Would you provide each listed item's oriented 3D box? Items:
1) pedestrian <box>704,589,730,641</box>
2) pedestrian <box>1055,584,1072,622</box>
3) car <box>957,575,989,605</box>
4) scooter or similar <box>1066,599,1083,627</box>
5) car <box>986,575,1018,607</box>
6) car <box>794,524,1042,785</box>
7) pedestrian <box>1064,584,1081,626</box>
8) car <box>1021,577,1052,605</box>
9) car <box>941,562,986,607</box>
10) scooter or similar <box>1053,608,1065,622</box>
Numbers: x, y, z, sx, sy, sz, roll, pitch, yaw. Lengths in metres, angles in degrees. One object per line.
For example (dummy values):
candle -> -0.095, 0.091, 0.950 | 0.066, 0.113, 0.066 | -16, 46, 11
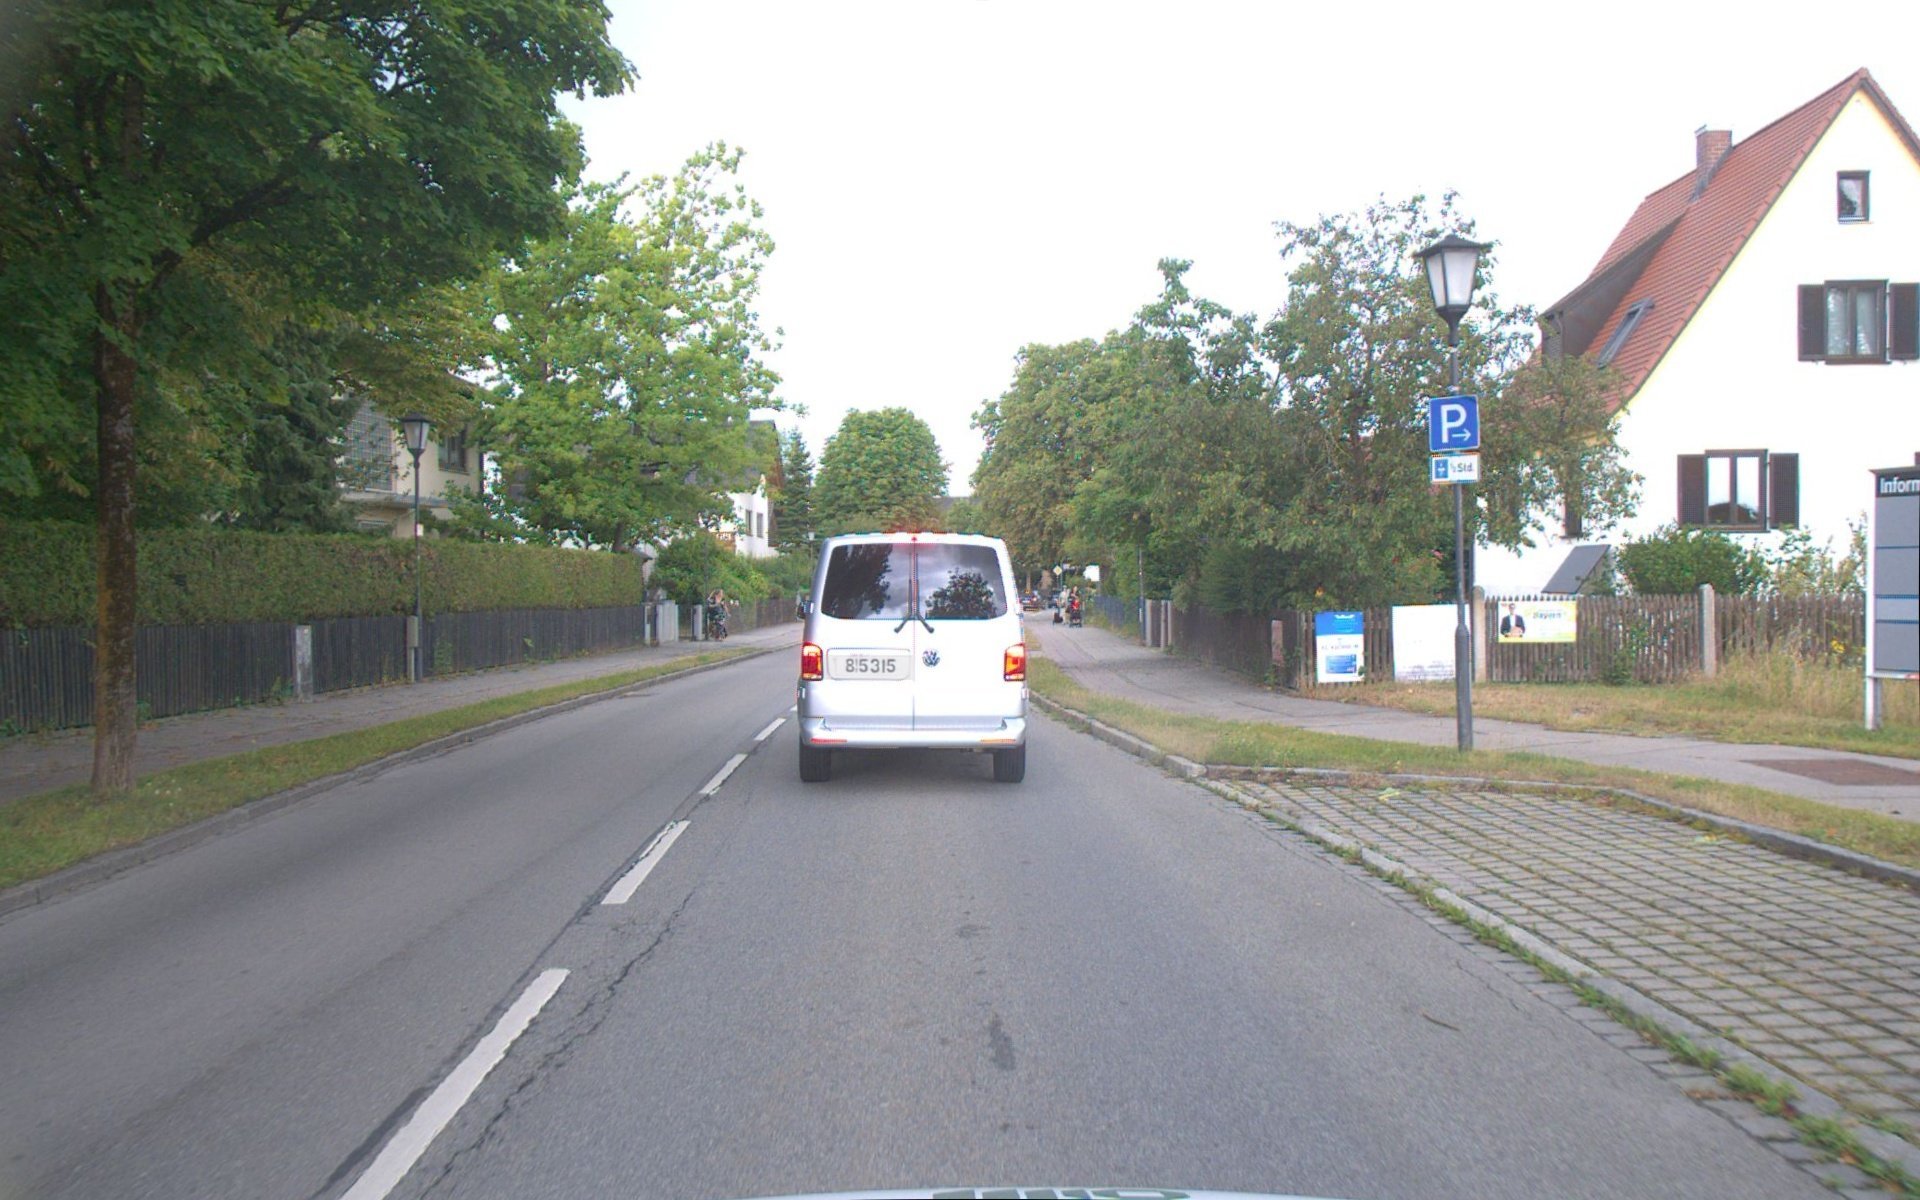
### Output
pedestrian -> -7.350, 0.453, 49.993 | 0.615, 1.576, 0.517 | 1, 0, -29
pedestrian -> 4.287, 0.136, 68.506 | 0.610, 1.550, 0.579 | 1, 0, -3
car -> 0.992, -0.733, 120.765 | 1.951, 2.049, 4.003 | -2, 0, 5
scooter or similar -> 4.204, 0.479, 60.773 | 0.540, 0.988, 0.620 | 1, 0, -3
car -> 2.862, -0.627, 111.802 | 1.952, 2.049, 4.002 | -2, 0, 4
car -> -0.297, 0.396, 14.378 | 1.849, 1.945, 4.000 | 0, 0, 0
pedestrian -> 4.188, 0.186, 61.428 | 0.540, 1.576, 0.612 | 1, 0, -3
car -> 5.669, -0.681, 122.288 | 1.951, 2.049, 4.003 | -2, 0, 7
car -> 0.181, -0.726, 77.540 | 1.952, 2.049, 4.001 | 1, 0, 2
scooter or similar -> 4.129, 0.617, 69.185 | 0.465, 0.554, 0.458 | 1, 0, -3
